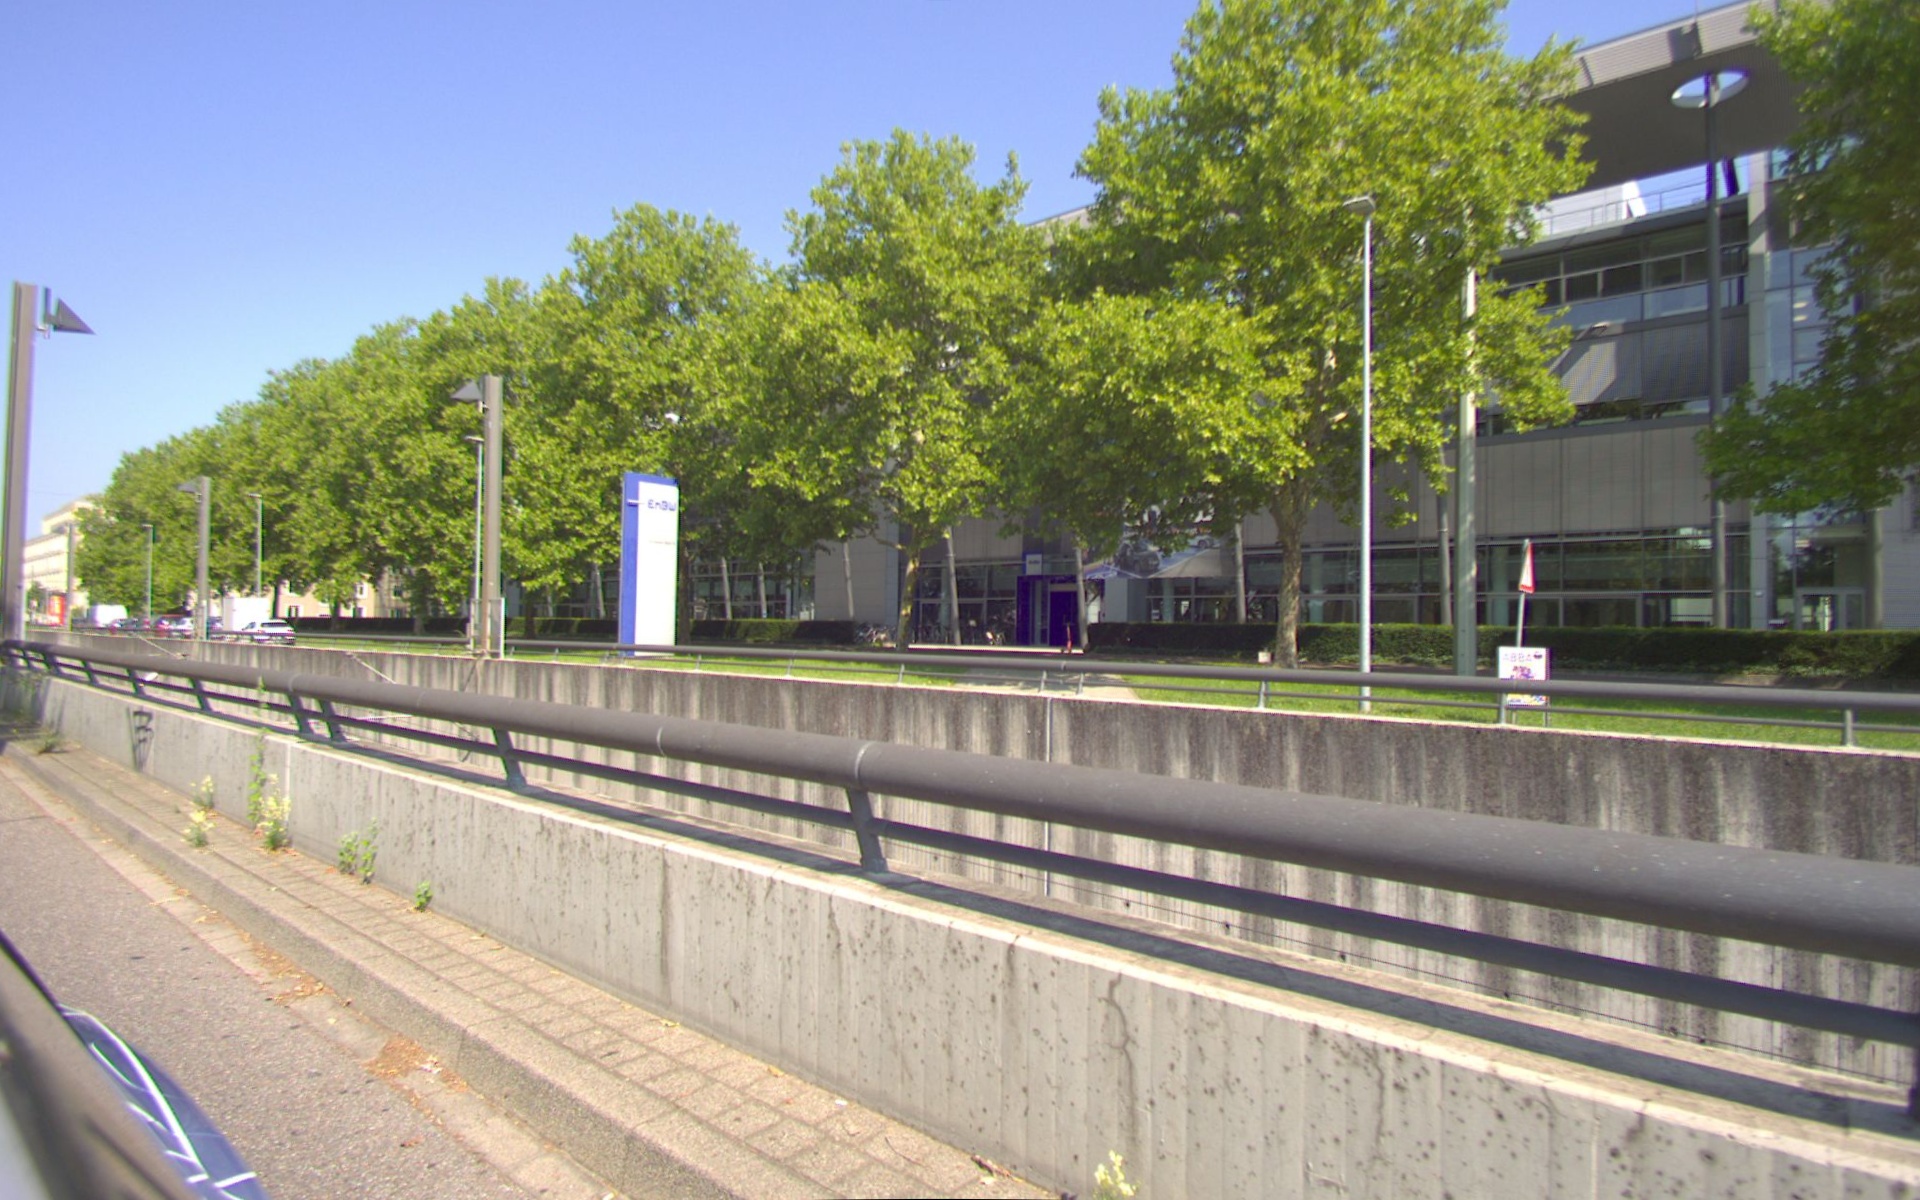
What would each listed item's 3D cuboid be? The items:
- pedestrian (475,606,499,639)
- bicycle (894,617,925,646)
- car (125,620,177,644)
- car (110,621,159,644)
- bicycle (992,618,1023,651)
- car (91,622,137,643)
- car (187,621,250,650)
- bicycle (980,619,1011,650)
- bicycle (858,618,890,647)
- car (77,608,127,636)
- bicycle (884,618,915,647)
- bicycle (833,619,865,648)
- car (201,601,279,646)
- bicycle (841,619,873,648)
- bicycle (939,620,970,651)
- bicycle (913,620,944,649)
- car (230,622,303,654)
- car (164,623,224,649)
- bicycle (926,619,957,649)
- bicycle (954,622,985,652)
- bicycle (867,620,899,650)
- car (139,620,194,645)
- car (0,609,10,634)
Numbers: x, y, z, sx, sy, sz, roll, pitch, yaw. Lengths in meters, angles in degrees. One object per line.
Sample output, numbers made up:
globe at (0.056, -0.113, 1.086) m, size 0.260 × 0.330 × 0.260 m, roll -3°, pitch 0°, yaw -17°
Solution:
pedestrian at (-29.770, 1.415, 63.723) m, size 1.349 × 2.029 × 0.936 m, roll -1°, pitch 0°, yaw 43°
bicycle at (-2.797, 1.738, 56.465) m, size 0.599 × 1.566 × 2.145 m, roll -1°, pitch 0°, yaw 33°
car at (-54.384, 2.118, 68.012) m, size 3.997 × 1.464 × 1.973 m, roll -1°, pitch 0°, yaw 40°
car at (-57.938, 2.270, 71.004) m, size 3.997 × 1.464 × 1.973 m, roll -1°, pitch 0°, yaw 40°
bicycle at (2.516, 1.797, 53.286) m, size 0.599 × 1.652 × 2.145 m, roll -1°, pitch 0°, yaw 33°
car at (-62.895, 2.373, 75.229) m, size 3.997 × 1.464 × 1.973 m, roll -1°, pitch 0°, yaw 40°
car at (-41.593, 1.955, 56.735) m, size 3.997 × 1.464 × 1.973 m, roll -1°, pitch 0°, yaw 40°
bicycle at (1.869, 1.815, 53.664) m, size 0.599 × 1.566 × 2.145 m, roll -1°, pitch 0°, yaw 33°
bicycle at (-4.883, 1.856, 57.481) m, size 0.599 × 1.566 × 2.145 m, roll -1°, pitch 0°, yaw 33°
car at (-67.059, 1.681, 79.080) m, size 4.652 × 2.095 × 2.262 m, roll -1°, pitch 0°, yaw 40°
bicycle at (-3.376, 1.814, 56.757) m, size 0.599 × 1.566 × 2.145 m, roll -1°, pitch 0°, yaw 33°
bicycle at (-6.378, 1.910, 58.470) m, size 0.599 × 1.566 × 2.145 m, roll -1°, pitch 0°, yaw 33°
car at (-38.190, 1.230, 53.631) m, size 4.652 × 2.250 × 2.262 m, roll -1°, pitch 0°, yaw 40°
bicycle at (-5.884, 1.898, 58.089) m, size 0.599 × 1.566 × 2.145 m, roll -1°, pitch 0°, yaw 33°
bicycle at (-0.283, 1.911, 55.075) m, size 0.599 × 1.566 × 2.145 m, roll -1°, pitch 0°, yaw 33°
bicycle at (-1.723, 1.895, 55.954) m, size 0.599 × 1.566 × 2.145 m, roll -1°, pitch 0°, yaw 33°
car at (-34.418, 1.862, 50.184) m, size 3.997 × 1.464 × 1.973 m, roll -1°, pitch 0°, yaw 40°
car at (-45.385, 2.100, 59.919) m, size 3.997 × 1.464 × 1.973 m, roll -1°, pitch 0°, yaw 40°
bicycle at (-0.991, 1.868, 55.519) m, size 0.599 × 1.566 × 2.145 m, roll -1°, pitch 0°, yaw 33°
bicycle at (0.521, 1.986, 54.643) m, size 0.599 × 1.566 × 2.145 m, roll -1°, pitch 0°, yaw 33°
bicycle at (-4.337, 1.964, 57.113) m, size 0.599 × 1.566 × 2.145 m, roll -1°, pitch 0°, yaw 33°
car at (-50.584, 2.031, 64.505) m, size 3.997 × 1.464 × 1.973 m, roll -1°, pitch 0°, yaw 40°
car at (-81.534, 1.813, 84.931) m, size 3.992 × 2.029 × 1.976 m, roll -1°, pitch 0°, yaw 36°
